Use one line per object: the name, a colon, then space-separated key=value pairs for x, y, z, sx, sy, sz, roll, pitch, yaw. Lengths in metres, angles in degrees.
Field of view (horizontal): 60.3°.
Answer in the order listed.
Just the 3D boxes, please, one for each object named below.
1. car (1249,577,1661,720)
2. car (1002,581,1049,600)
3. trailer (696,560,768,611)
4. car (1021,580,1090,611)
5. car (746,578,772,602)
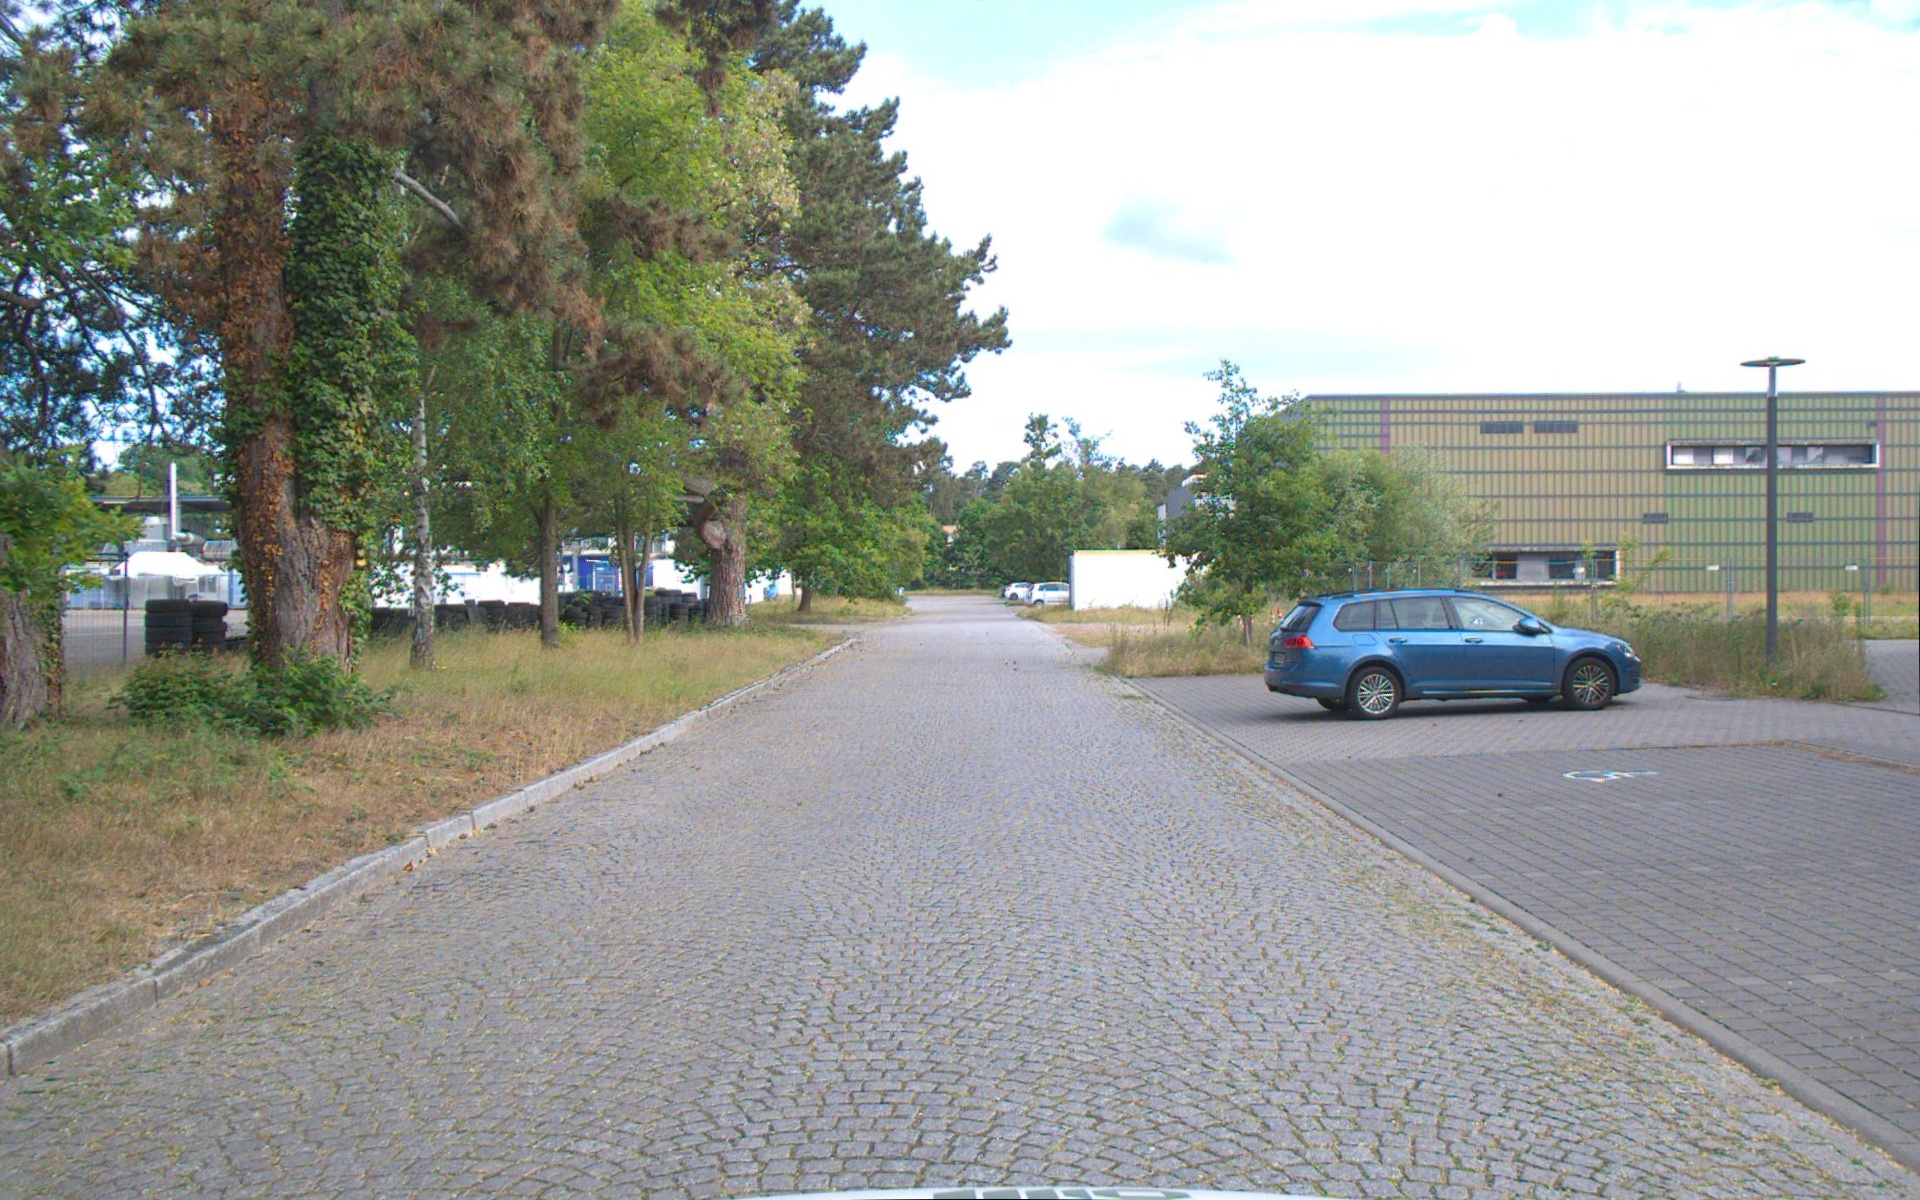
car: x=5.947 y=0.550 z=20.177 sx=4.432 sy=1.468 sz=1.822 roll=-2 pitch=1 yaw=-4
car: x=5.541 y=-0.809 z=139.873 sx=3.942 sy=1.528 sz=1.548 roll=-1 pitch=0 yaw=1
trailer: x=-14.546 y=-0.920 z=106.291 sx=3.093 sy=3.121 sz=8.786 roll=0 pitch=1 yaw=2
car: x=5.402 y=-0.245 z=93.722 sx=3.772 sy=1.683 sz=1.685 roll=-1 pitch=0 yaw=-3
car: x=-17.843 y=-0.918 z=147.138 sx=1.886 sy=2.083 sz=4.598 roll=-1 pitch=0 yaw=-2
